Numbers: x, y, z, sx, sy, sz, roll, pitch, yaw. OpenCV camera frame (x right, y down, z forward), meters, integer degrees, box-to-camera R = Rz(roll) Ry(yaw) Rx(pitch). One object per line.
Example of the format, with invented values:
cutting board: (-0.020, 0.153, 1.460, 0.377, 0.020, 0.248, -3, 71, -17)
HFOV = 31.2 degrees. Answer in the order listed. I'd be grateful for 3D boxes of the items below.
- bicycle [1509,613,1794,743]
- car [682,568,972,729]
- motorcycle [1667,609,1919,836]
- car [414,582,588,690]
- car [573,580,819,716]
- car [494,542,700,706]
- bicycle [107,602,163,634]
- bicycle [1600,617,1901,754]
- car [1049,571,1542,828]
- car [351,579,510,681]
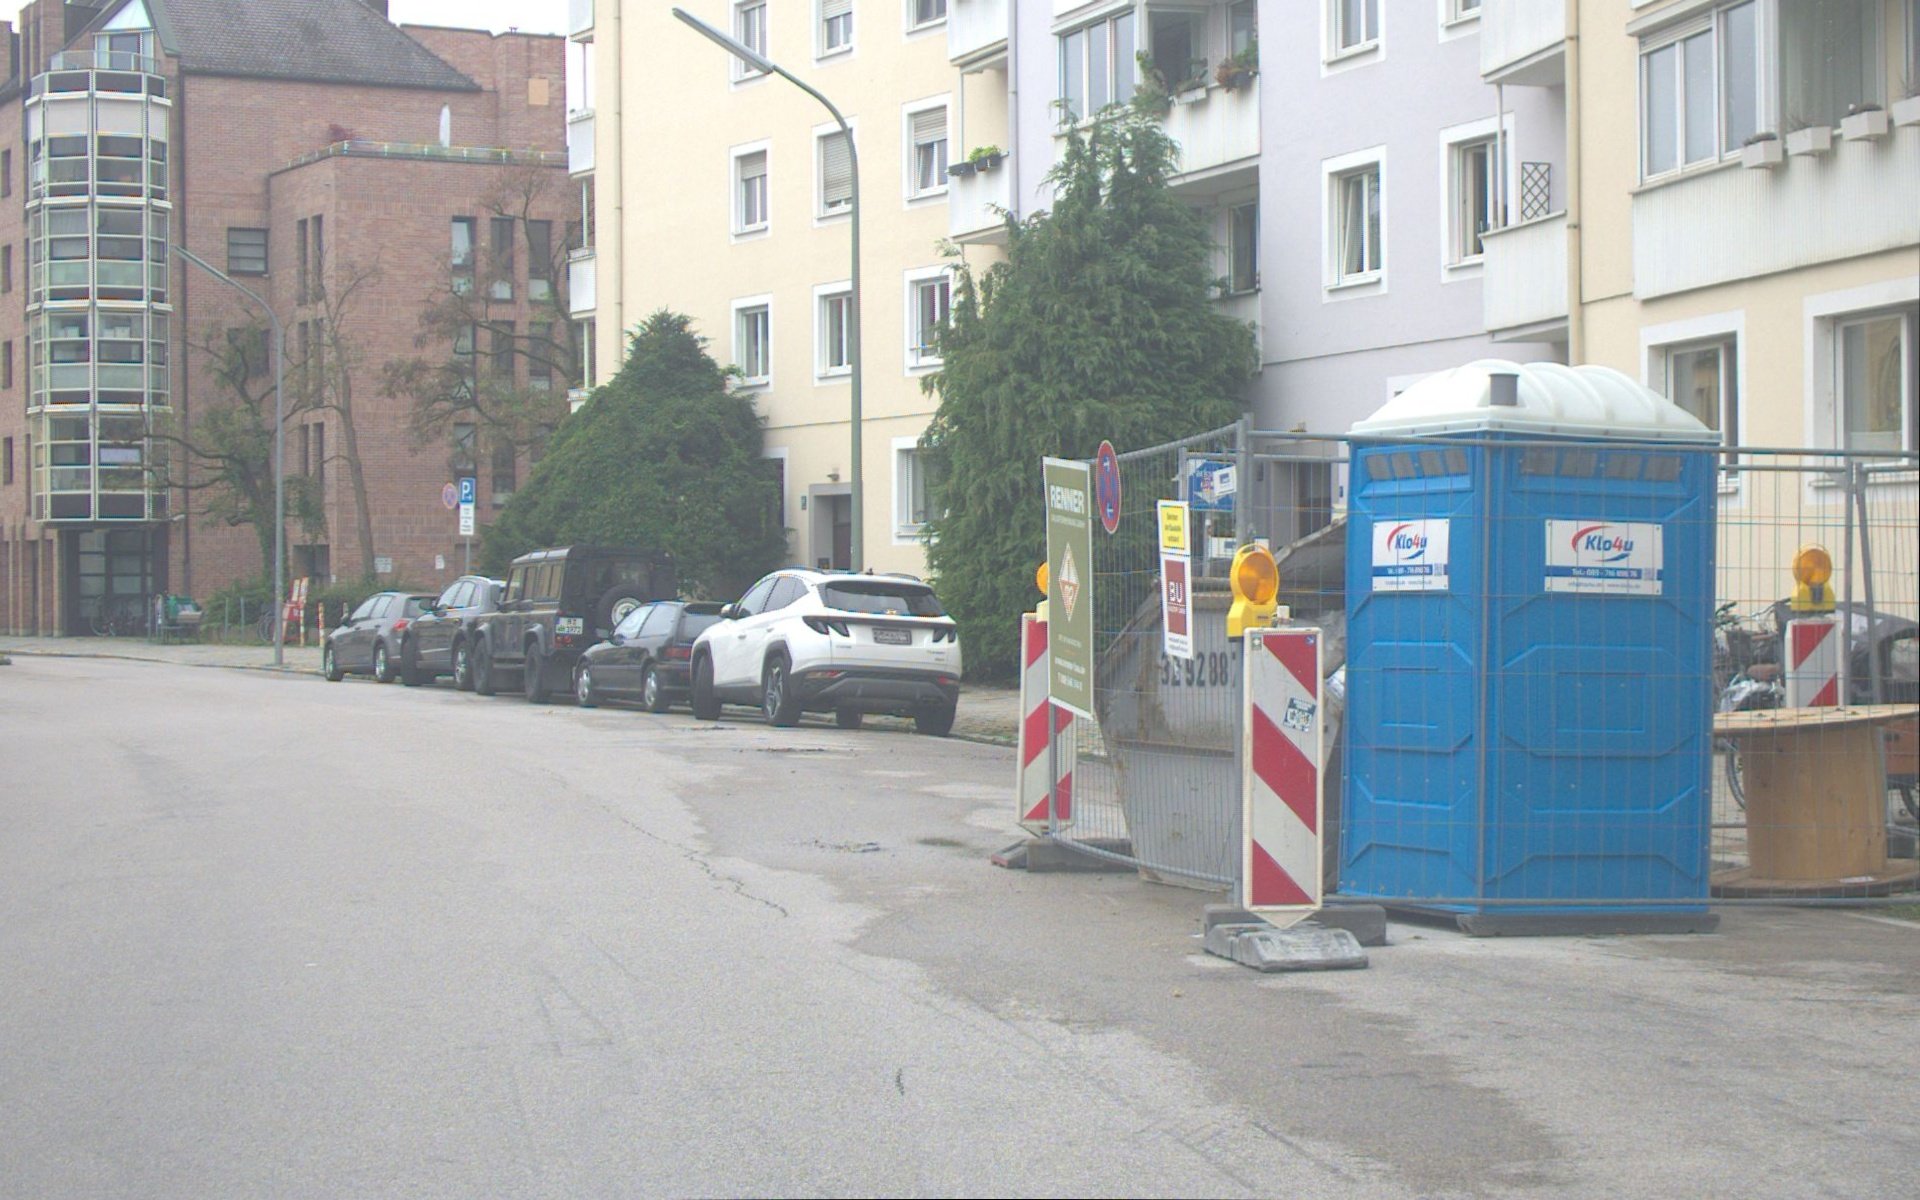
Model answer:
bicycle: (5.958, 0.660, 29.681, 2.232, 1.066, 0.920, 0, 1, -11)
car: (-1.453, 0.455, 35.812, 1.830, 1.568, 4.001, 0, 1, -21)
motorcycle: (5.110, 0.680, 20.314, 0.931, 1.217, 2.508, 0, 1, -11)
car: (-6.690, 0.496, 49.824, 1.780, 1.505, 3.721, 0, 0, -19)
car: (-3.165, 0.533, 40.539, 1.780, 1.514, 3.721, 0, 0, -23)
car: (-4.763, 0.284, 44.692, 1.780, 1.970, 3.721, -2, 1, -19)
bicycle: (-22.896, 0.488, 95.389, 1.101, 0.851, 1.728, 0, 0, -29)
bicycle: (6.481, 0.687, 28.226, 2.232, 1.066, 0.920, 0, 1, -11)
car: (1.987, 0.541, 21.736, 1.780, 1.434, 4.283, -1, 1, -14)
car: (-8.345, 0.446, 53.993, 1.780, 1.505, 3.721, -1, 1, -19)
